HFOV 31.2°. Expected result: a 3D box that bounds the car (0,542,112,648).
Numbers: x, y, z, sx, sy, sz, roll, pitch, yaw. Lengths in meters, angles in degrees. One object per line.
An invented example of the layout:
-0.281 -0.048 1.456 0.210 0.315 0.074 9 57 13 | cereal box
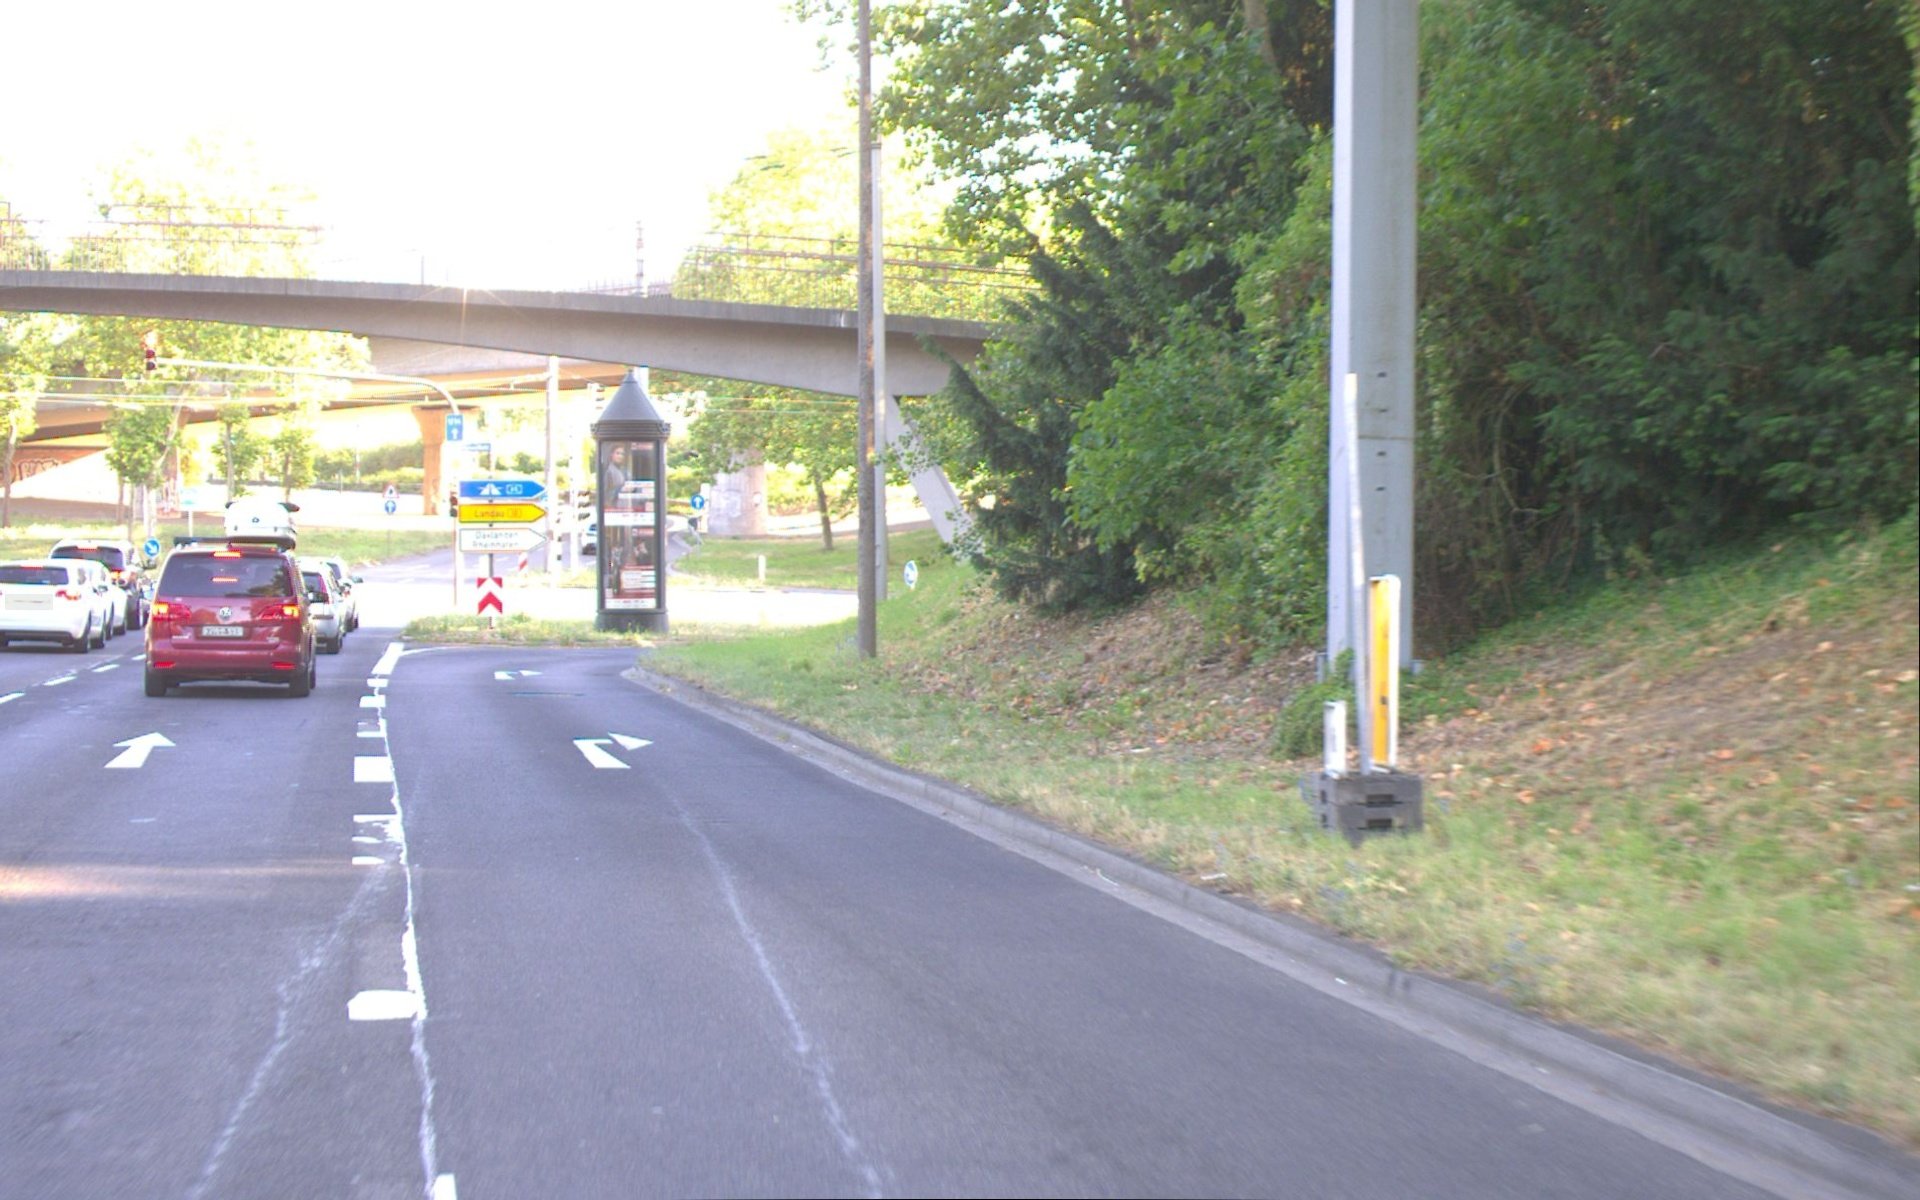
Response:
-14.633 -0.113 55.052 1.662 1.560 4.192 -2 2 -9 | car

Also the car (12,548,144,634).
-15.820 -0.191 61.844 1.741 1.427 4.412 1 1 -7 | car

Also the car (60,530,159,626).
-16.985 -0.479 68.700 1.792 1.786 4.828 -2 2 -14 | car

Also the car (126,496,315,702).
-8.092 -0.062 37.896 1.792 2.098 4.001 -2 2 -10 | car

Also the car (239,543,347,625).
-12.400 -0.331 64.103 1.792 1.378 4.478 -2 2 -9 | car

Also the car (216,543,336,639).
-11.518 -0.176 58.062 1.792 1.476 4.001 -2 2 -9 | car
